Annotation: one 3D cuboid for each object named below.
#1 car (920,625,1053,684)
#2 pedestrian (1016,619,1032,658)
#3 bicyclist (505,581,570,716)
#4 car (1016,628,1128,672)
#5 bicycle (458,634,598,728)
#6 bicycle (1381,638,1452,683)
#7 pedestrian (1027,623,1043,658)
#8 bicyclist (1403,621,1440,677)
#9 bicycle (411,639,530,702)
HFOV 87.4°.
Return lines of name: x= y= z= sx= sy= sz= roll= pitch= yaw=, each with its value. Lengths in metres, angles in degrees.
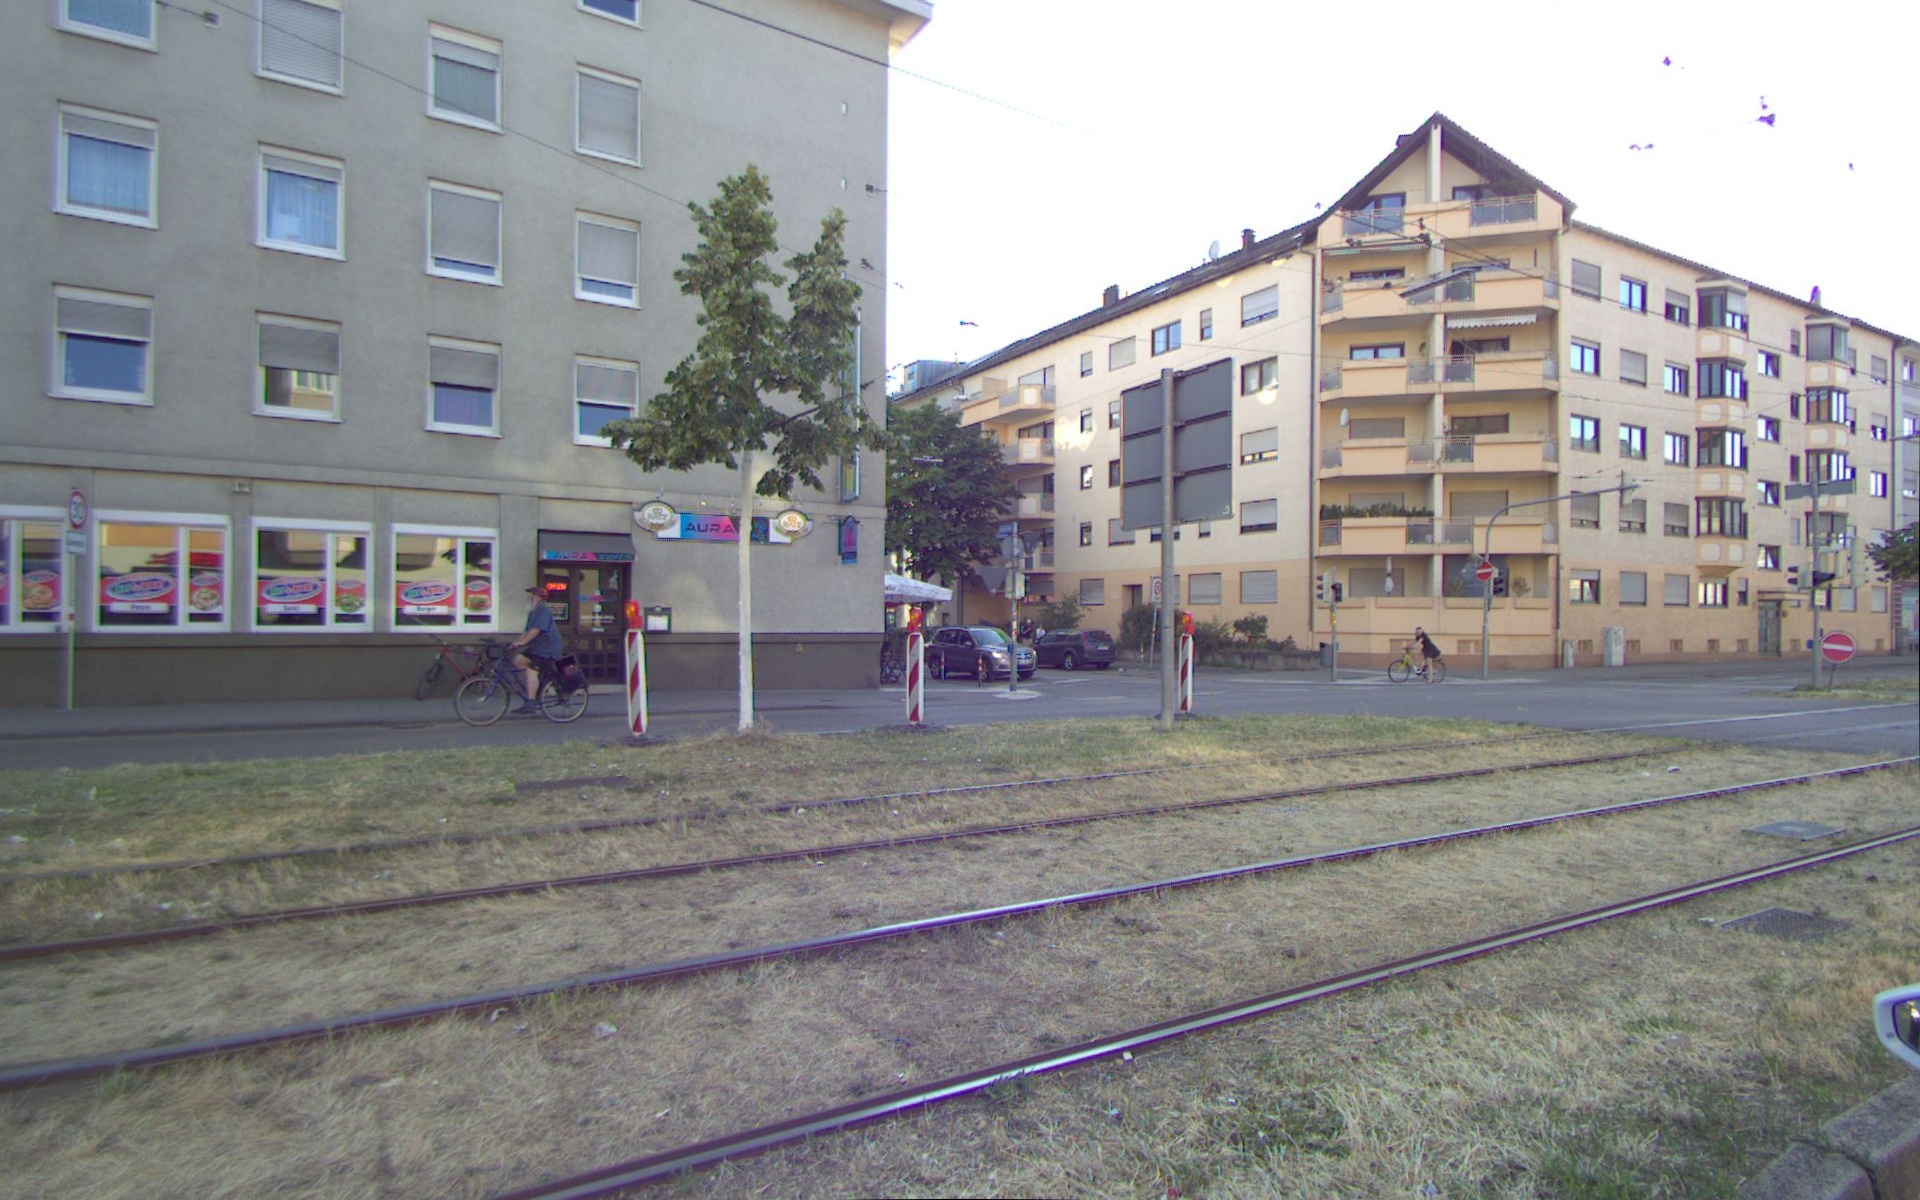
car: x=0.769 y=1.635 z=31.459 sx=1.982 sy=1.645 sz=4.153 roll=-2 pitch=0 yaw=-38
pedestrian: x=2.865 y=1.723 z=45.138 sx=0.456 sy=1.727 sz=0.589 roll=2 pitch=0 yaw=-24
bicyclist: x=-6.197 y=0.704 z=14.722 sx=0.799 sy=1.907 sz=0.648 roll=1 pitch=-2 yaw=-29
car: x=4.146 y=1.816 z=37.600 sx=1.982 sy=1.462 sz=3.957 roll=-1 pitch=0 yaw=-38
bicycle: x=-6.277 y=1.144 z=14.635 sx=1.848 sy=1.274 sz=0.453 roll=0 pitch=0 yaw=-30
bicycle: x=13.311 y=1.753 z=29.318 sx=1.833 sy=1.274 sz=0.457 roll=0 pitch=0 yaw=3
pedestrian: x=3.387 y=1.818 z=45.432 sx=0.509 sy=1.573 sz=0.547 roll=0 pitch=1 yaw=-24
bicyclist: x=13.470 y=1.427 z=29.325 sx=0.793 sy=1.607 sz=0.628 roll=0 pitch=0 yaw=4
bicycle: x=-8.622 y=1.231 z=17.721 sx=1.823 sy=1.037 sz=0.605 roll=2 pitch=0 yaw=-31
